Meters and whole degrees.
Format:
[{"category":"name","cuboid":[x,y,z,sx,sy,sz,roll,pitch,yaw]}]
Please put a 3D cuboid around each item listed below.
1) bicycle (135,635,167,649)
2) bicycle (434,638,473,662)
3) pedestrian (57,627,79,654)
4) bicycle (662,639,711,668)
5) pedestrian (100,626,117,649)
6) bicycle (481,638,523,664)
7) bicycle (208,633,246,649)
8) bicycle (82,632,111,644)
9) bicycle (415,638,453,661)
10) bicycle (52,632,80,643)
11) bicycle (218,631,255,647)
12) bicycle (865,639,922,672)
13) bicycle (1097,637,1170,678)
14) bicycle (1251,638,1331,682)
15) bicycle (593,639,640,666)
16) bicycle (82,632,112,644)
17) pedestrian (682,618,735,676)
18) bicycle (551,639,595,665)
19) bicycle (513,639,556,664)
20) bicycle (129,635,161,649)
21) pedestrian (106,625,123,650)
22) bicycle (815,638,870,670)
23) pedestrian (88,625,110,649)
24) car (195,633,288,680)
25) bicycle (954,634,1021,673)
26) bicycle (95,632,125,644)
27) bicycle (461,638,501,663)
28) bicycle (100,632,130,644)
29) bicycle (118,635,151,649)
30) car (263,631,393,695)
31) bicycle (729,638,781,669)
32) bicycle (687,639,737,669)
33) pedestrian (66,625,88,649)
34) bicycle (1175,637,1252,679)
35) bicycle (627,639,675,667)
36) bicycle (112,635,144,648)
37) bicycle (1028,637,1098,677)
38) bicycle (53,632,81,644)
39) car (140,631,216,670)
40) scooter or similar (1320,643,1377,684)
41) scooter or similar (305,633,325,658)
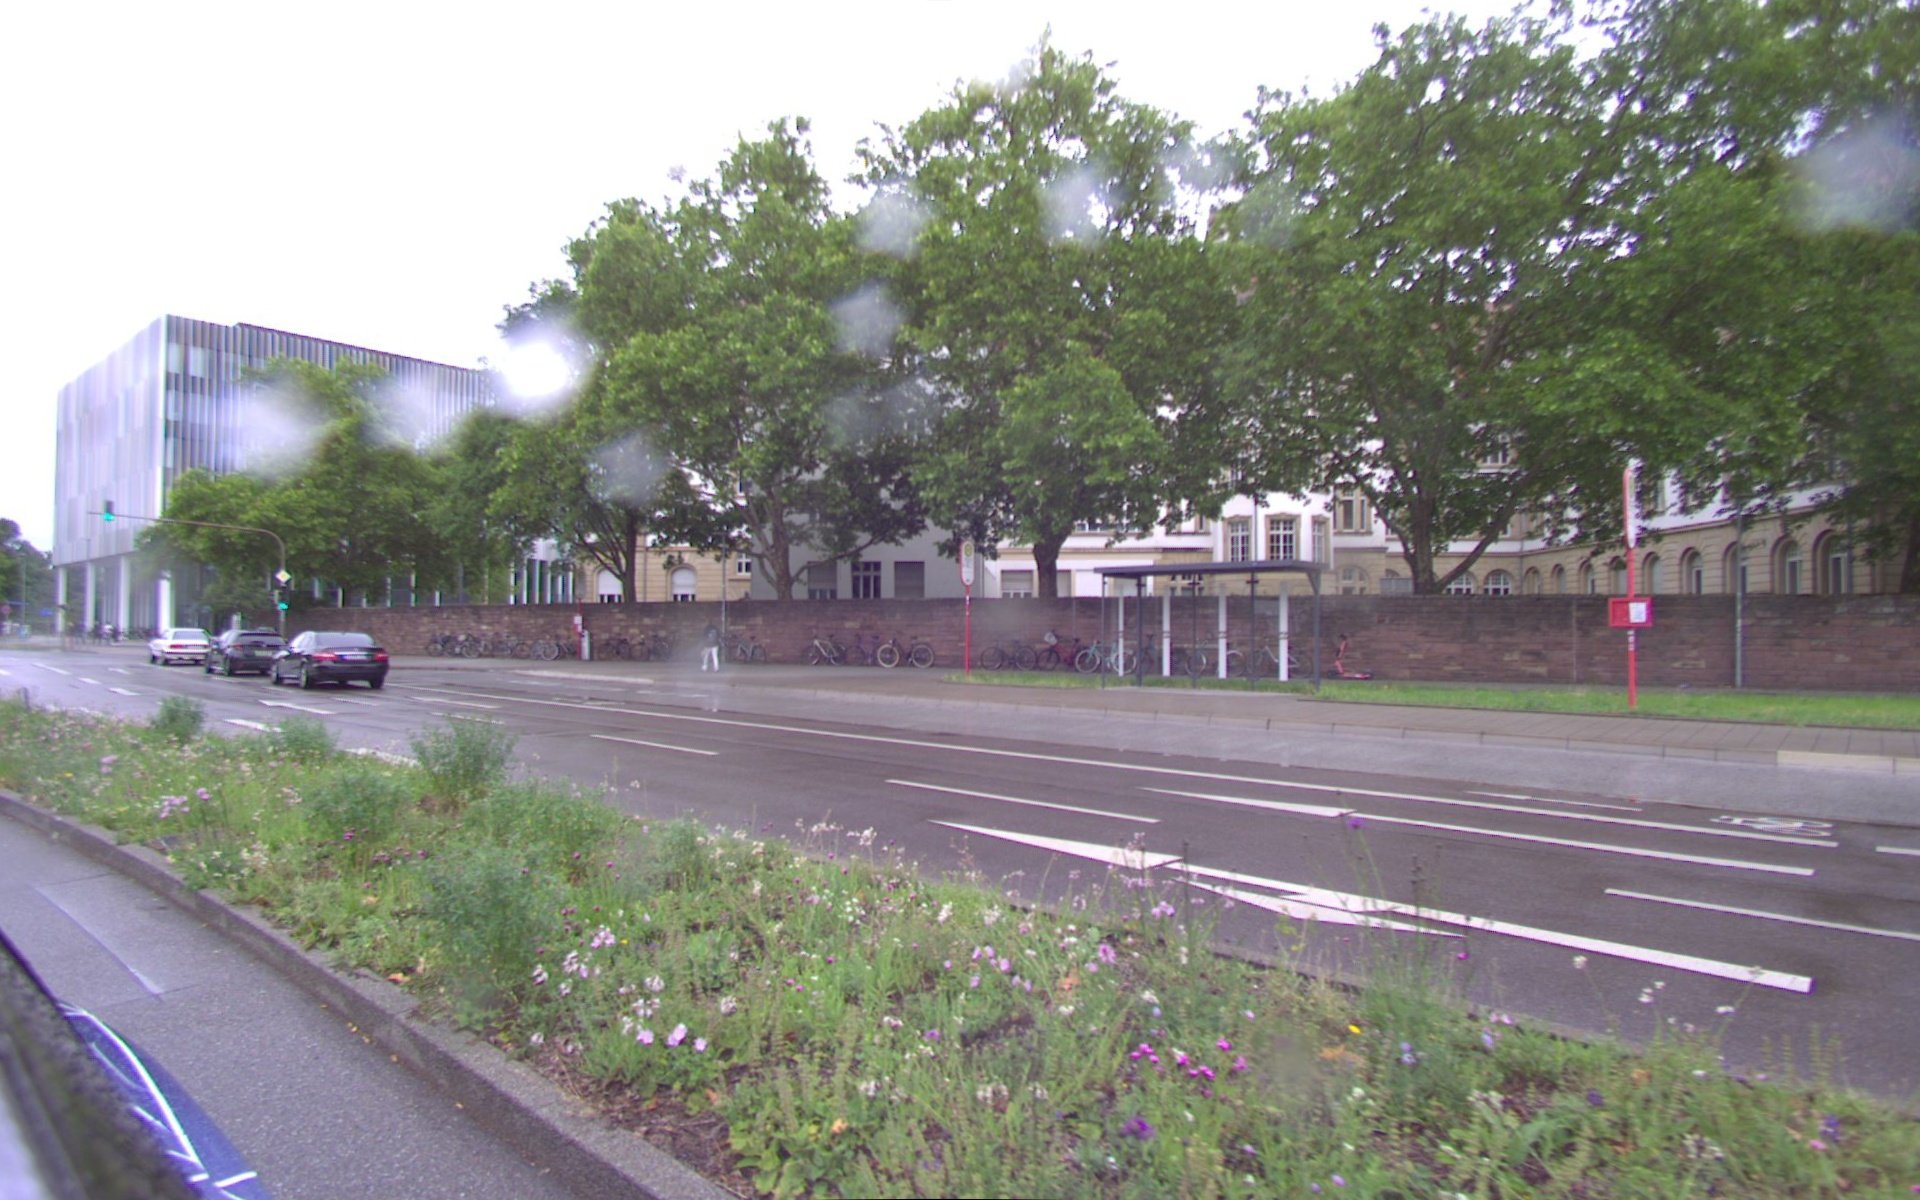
[{"category":"bicycle","cuboid":[-75.354,3.894,94.238,0.596,1.231,2.263,-1,-2,29]},{"category":"bicycle","cuboid":[-21.815,2.155,43.598,1.695,0.990,0.726,-1,-2,31]},{"category":"pedestrian","cuboid":[-60.020,2.712,68.117,0.789,1.838,0.782,-1,-2,18]},{"category":"bicycle","cuboid":[-9.798,1.907,36.196,1.695,0.990,0.726,-1,-2,31]},{"category":"pedestrian","cuboid":[-65.986,2.903,78.395,0.619,1.838,0.782,-1,-2,18]},{"category":"bicycle","cuboid":[-18.706,2.073,41.298,1.860,0.990,0.725,-1,-2,35]},{"category":"bicycle","cuboid":[-56.235,3.116,77.658,0.596,1.231,2.263,-1,-2,29]},{"category":"bicycle","cuboid":[-87.443,3.842,102.504,2.249,1.231,0.600,2,-3,-39]},{"category":"bicycle","cuboid":[-23.336,2.202,44.931,1.695,0.990,0.726,-1,-2,31]},{"category":"bicycle","cuboid":[-99.163,4.187,112.300,2.249,1.231,0.600,2,-3,-39]},{"category":"bicycle","cuboid":[-55.234,2.985,77.319,0.596,1.231,2.263,-1,-2,29]},{"category":"bicycle","cuboid":[-2.083,1.740,31.828,1.695,0.990,0.726,-1,-2,31]},{"category":"bicycle","cuboid":[4.939,1.630,28.911,1.981,1.144,0.569,-1,-2,26]},{"category":"bicycle","cuboid":[8.928,1.601,27.297,1.981,1.144,0.569,-1,-2,26]},{"category":"bicycle","cuboid":[-12.854,1.952,37.856,1.695,0.990,0.726,-1,-2,31]},{"category":"bicycle","cuboid":[-87.976,3.865,103.150,2.249,1.231,0.600,2,-3,-39]},{"category":"pedestrian","cuboid":[-7.600,1.421,30.587,1.397,1.708,0.860,-1,-2,36]},{"category":"bicycle","cuboid":[-15.105,2.008,39.453,1.695,0.990,0.726,-1,-2,31]},{"category":"bicycle","cuboid":[-17.024,2.044,40.446,1.695,0.990,0.726,-1,-2,31]},{"category":"bicycle","cuboid":[-76.029,3.899,94.396,0.596,1.231,2.263,-1,-2,29]},{"category":"pedestrian","cuboid":[-65.109,2.888,77.952,0.619,1.838,0.782,-1,-2,18]},{"category":"bicycle","cuboid":[-3.842,1.746,32.941,1.695,0.990,0.726,-1,-2,31]},{"category":"pedestrian","cuboid":[-67.101,2.866,78.886,0.916,1.838,0.934,-1,-2,18]},{"category":"car","cuboid":[-23.188,1.790,32.601,4.066,1.426,1.606,-2,-4,43]},{"category":"bicycle","cuboid":[0.827,1.613,30.649,1.978,1.144,0.570,-1,-2,22]},{"category":"bicycle","cuboid":[-84.755,3.787,100.946,2.249,1.231,0.600,2,-3,-39]},{"category":"bicycle","cuboid":[-20.273,2.127,42.816,1.695,0.990,0.726,-1,-2,31]},{"category":"bicycle","cuboid":[-83.131,3.739,99.581,2.249,1.231,0.600,2,-3,-39]},{"category":"bicycle","cuboid":[-77.422,3.919,94.932,0.596,1.231,2.263,-1,-2,29]},{"category":"car","cuboid":[-16.833,1.628,26.854,4.704,1.552,1.788,-2,-4,44]},{"category":"bicycle","cuboid":[-6.880,1.786,33.920,1.695,0.990,0.726,-1,-2,31]},{"category":"bicycle","cuboid":[-8.691,1.881,35.421,1.695,0.990,0.726,-1,-2,31]},{"category":"pedestrian","cuboid":[-68.220,2.842,78.194,0.914,1.838,0.936,-1,-2,11]},{"category":"bicycle","cuboid":[6.975,1.588,27.918,1.981,1.144,0.569,-1,-2,26]},{"category":"bicycle","cuboid":[-11.316,1.922,37.030,1.695,0.990,0.726,-1,-2,31]},{"category":"bicycle","cuboid":[-78.419,3.937,95.452,0.596,1.231,2.263,-1,-2,29]},{"category":"bicycle","cuboid":[3.016,1.650,29.649,1.978,1.144,0.570,-1,-2,22]},{"category":"bicycle","cuboid":[-97.432,4.124,110.479,2.249,1.231,0.600,2,-3,-39]},{"category":"car","cuboid":[-30.426,1.944,39.333,4.524,1.426,1.578,-2,-4,43]},{"category":"scooter or similar","cuboid":[10.243,1.656,26.703,1.355,1.055,0.569,-1,-2,26]},{"category":"scooter or similar","cuboid":[-32.887,2.319,51.614,1.140,1.206,0.387,-1,4,37]}]
